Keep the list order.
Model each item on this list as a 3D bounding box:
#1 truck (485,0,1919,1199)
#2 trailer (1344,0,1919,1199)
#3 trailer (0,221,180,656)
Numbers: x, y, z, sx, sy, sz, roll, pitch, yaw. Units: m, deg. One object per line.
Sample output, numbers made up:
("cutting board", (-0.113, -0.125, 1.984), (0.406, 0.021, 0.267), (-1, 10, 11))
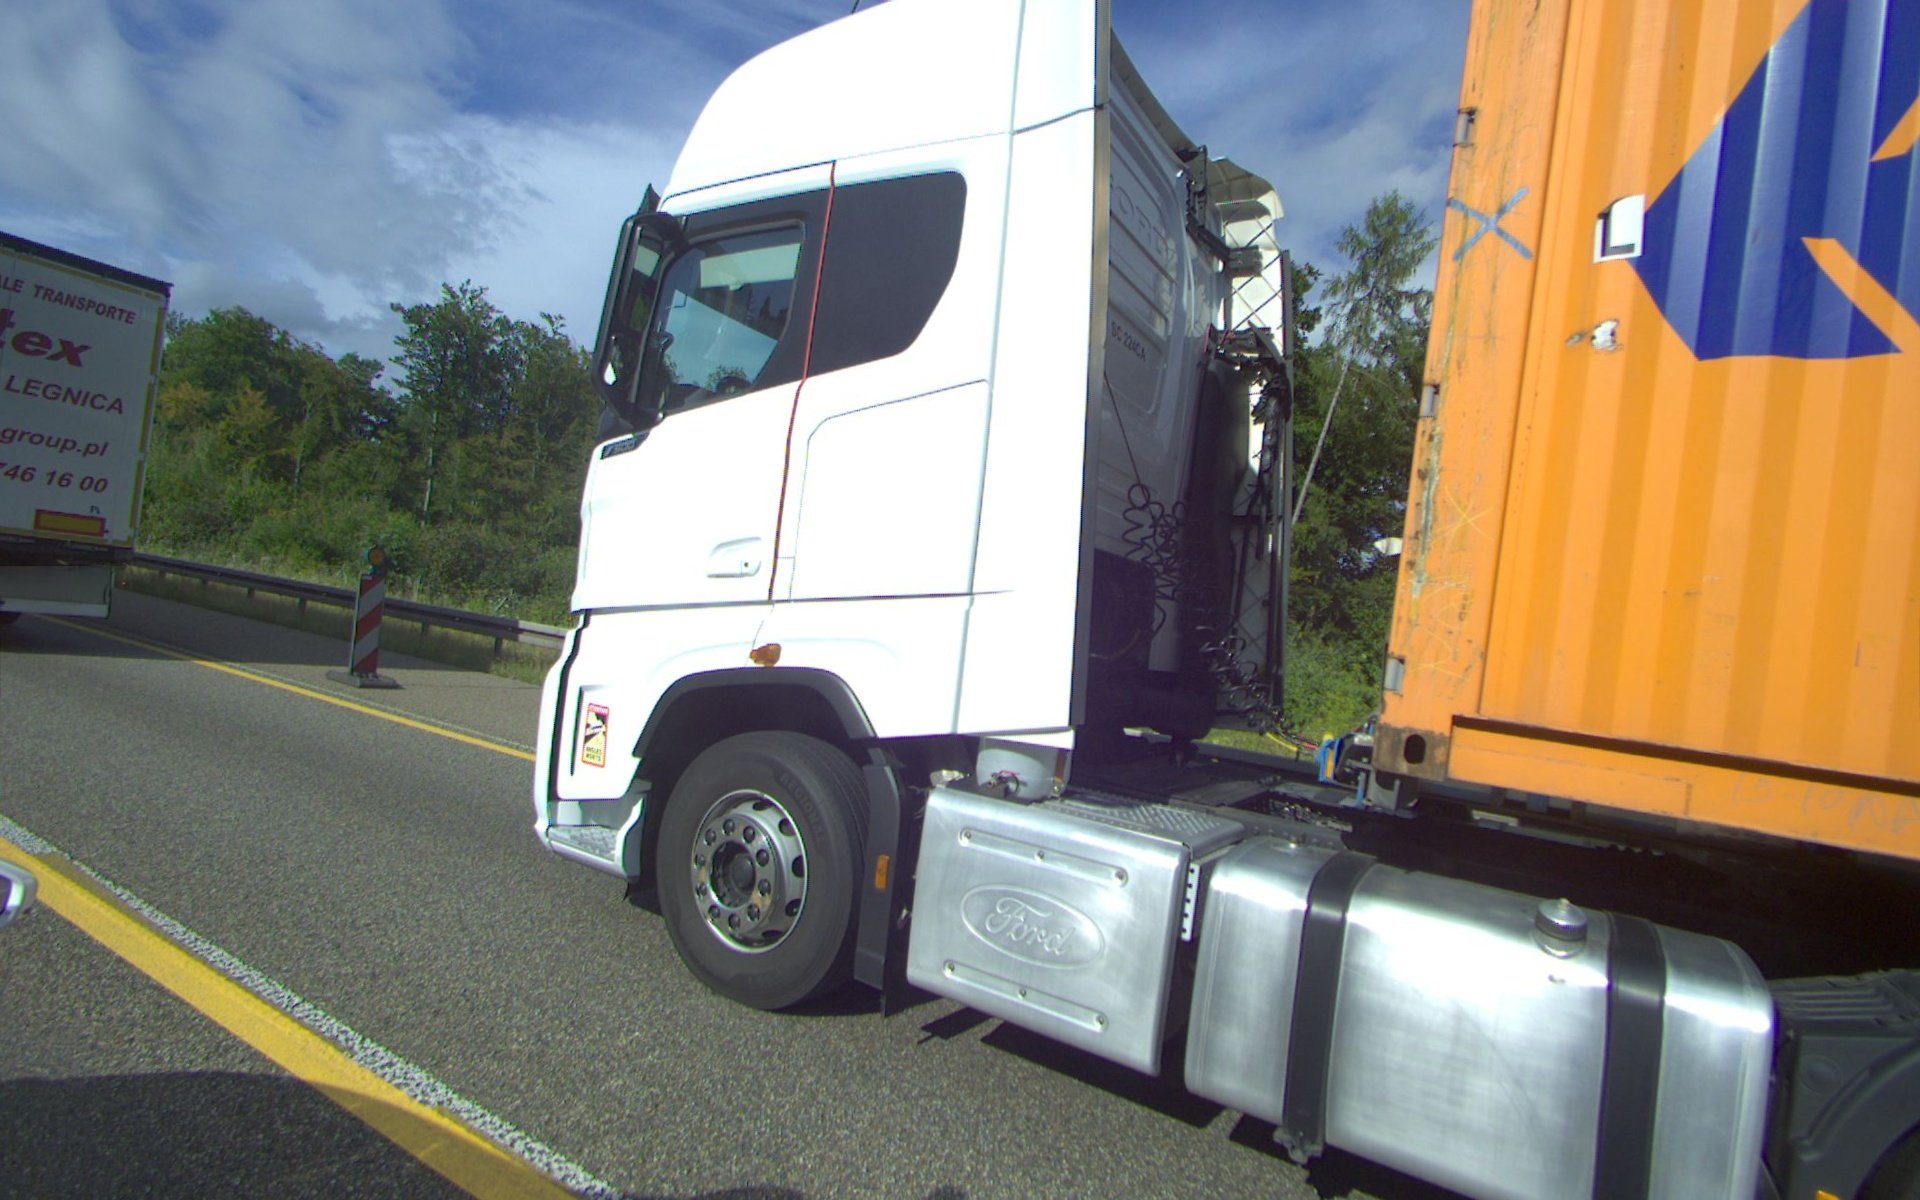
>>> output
("truck", (1.280, -0.227, 3.814), (5.694, 3.825, 2.499), (6, -1, 32))
("trailer", (6.822, 0.399, 0.376), (11.934, 3.818, 2.476), (7, -1, 31))
("trailer", (-14.772, -2.192, 12.859), (13.193, 4.015, 2.705), (7, -1, 31))
